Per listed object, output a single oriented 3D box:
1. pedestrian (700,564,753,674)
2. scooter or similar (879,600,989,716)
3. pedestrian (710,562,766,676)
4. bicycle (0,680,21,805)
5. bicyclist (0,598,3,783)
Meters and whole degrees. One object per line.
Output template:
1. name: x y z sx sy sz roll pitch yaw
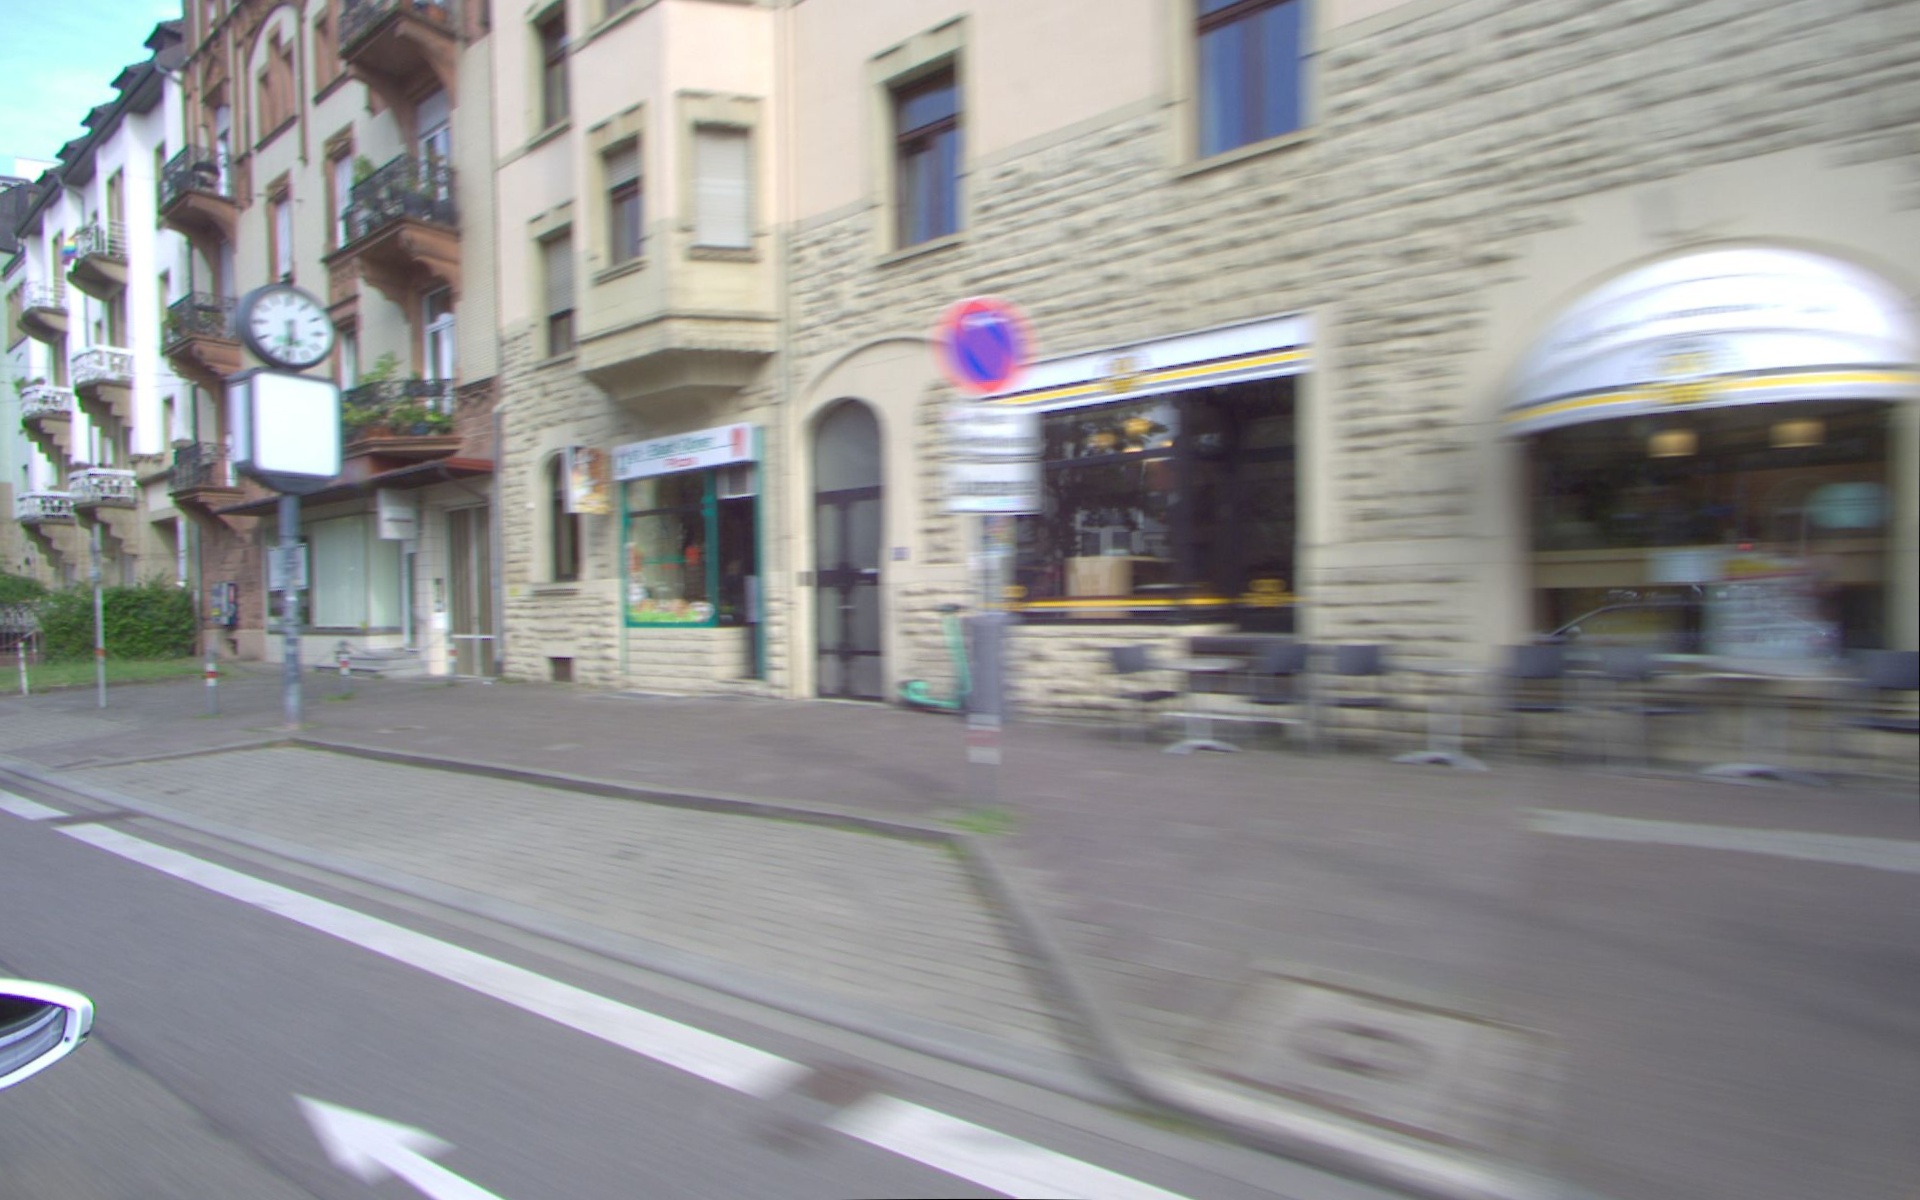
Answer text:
1. pedestrian: -3.486 0.281 14.961 0.501 1.602 0.557 0 1 37
2. scooter or similar: -0.292 0.609 10.850 1.182 1.184 0.395 0 3 39
3. pedestrian: -3.202 0.270 14.447 0.554 1.602 0.547 0 1 37
4. bicycle: -8.806 1.190 8.651 2.044 0.993 0.636 -1 -1 36
5. bicyclist: -8.861 0.777 8.681 1.096 1.590 0.636 0 0 36
